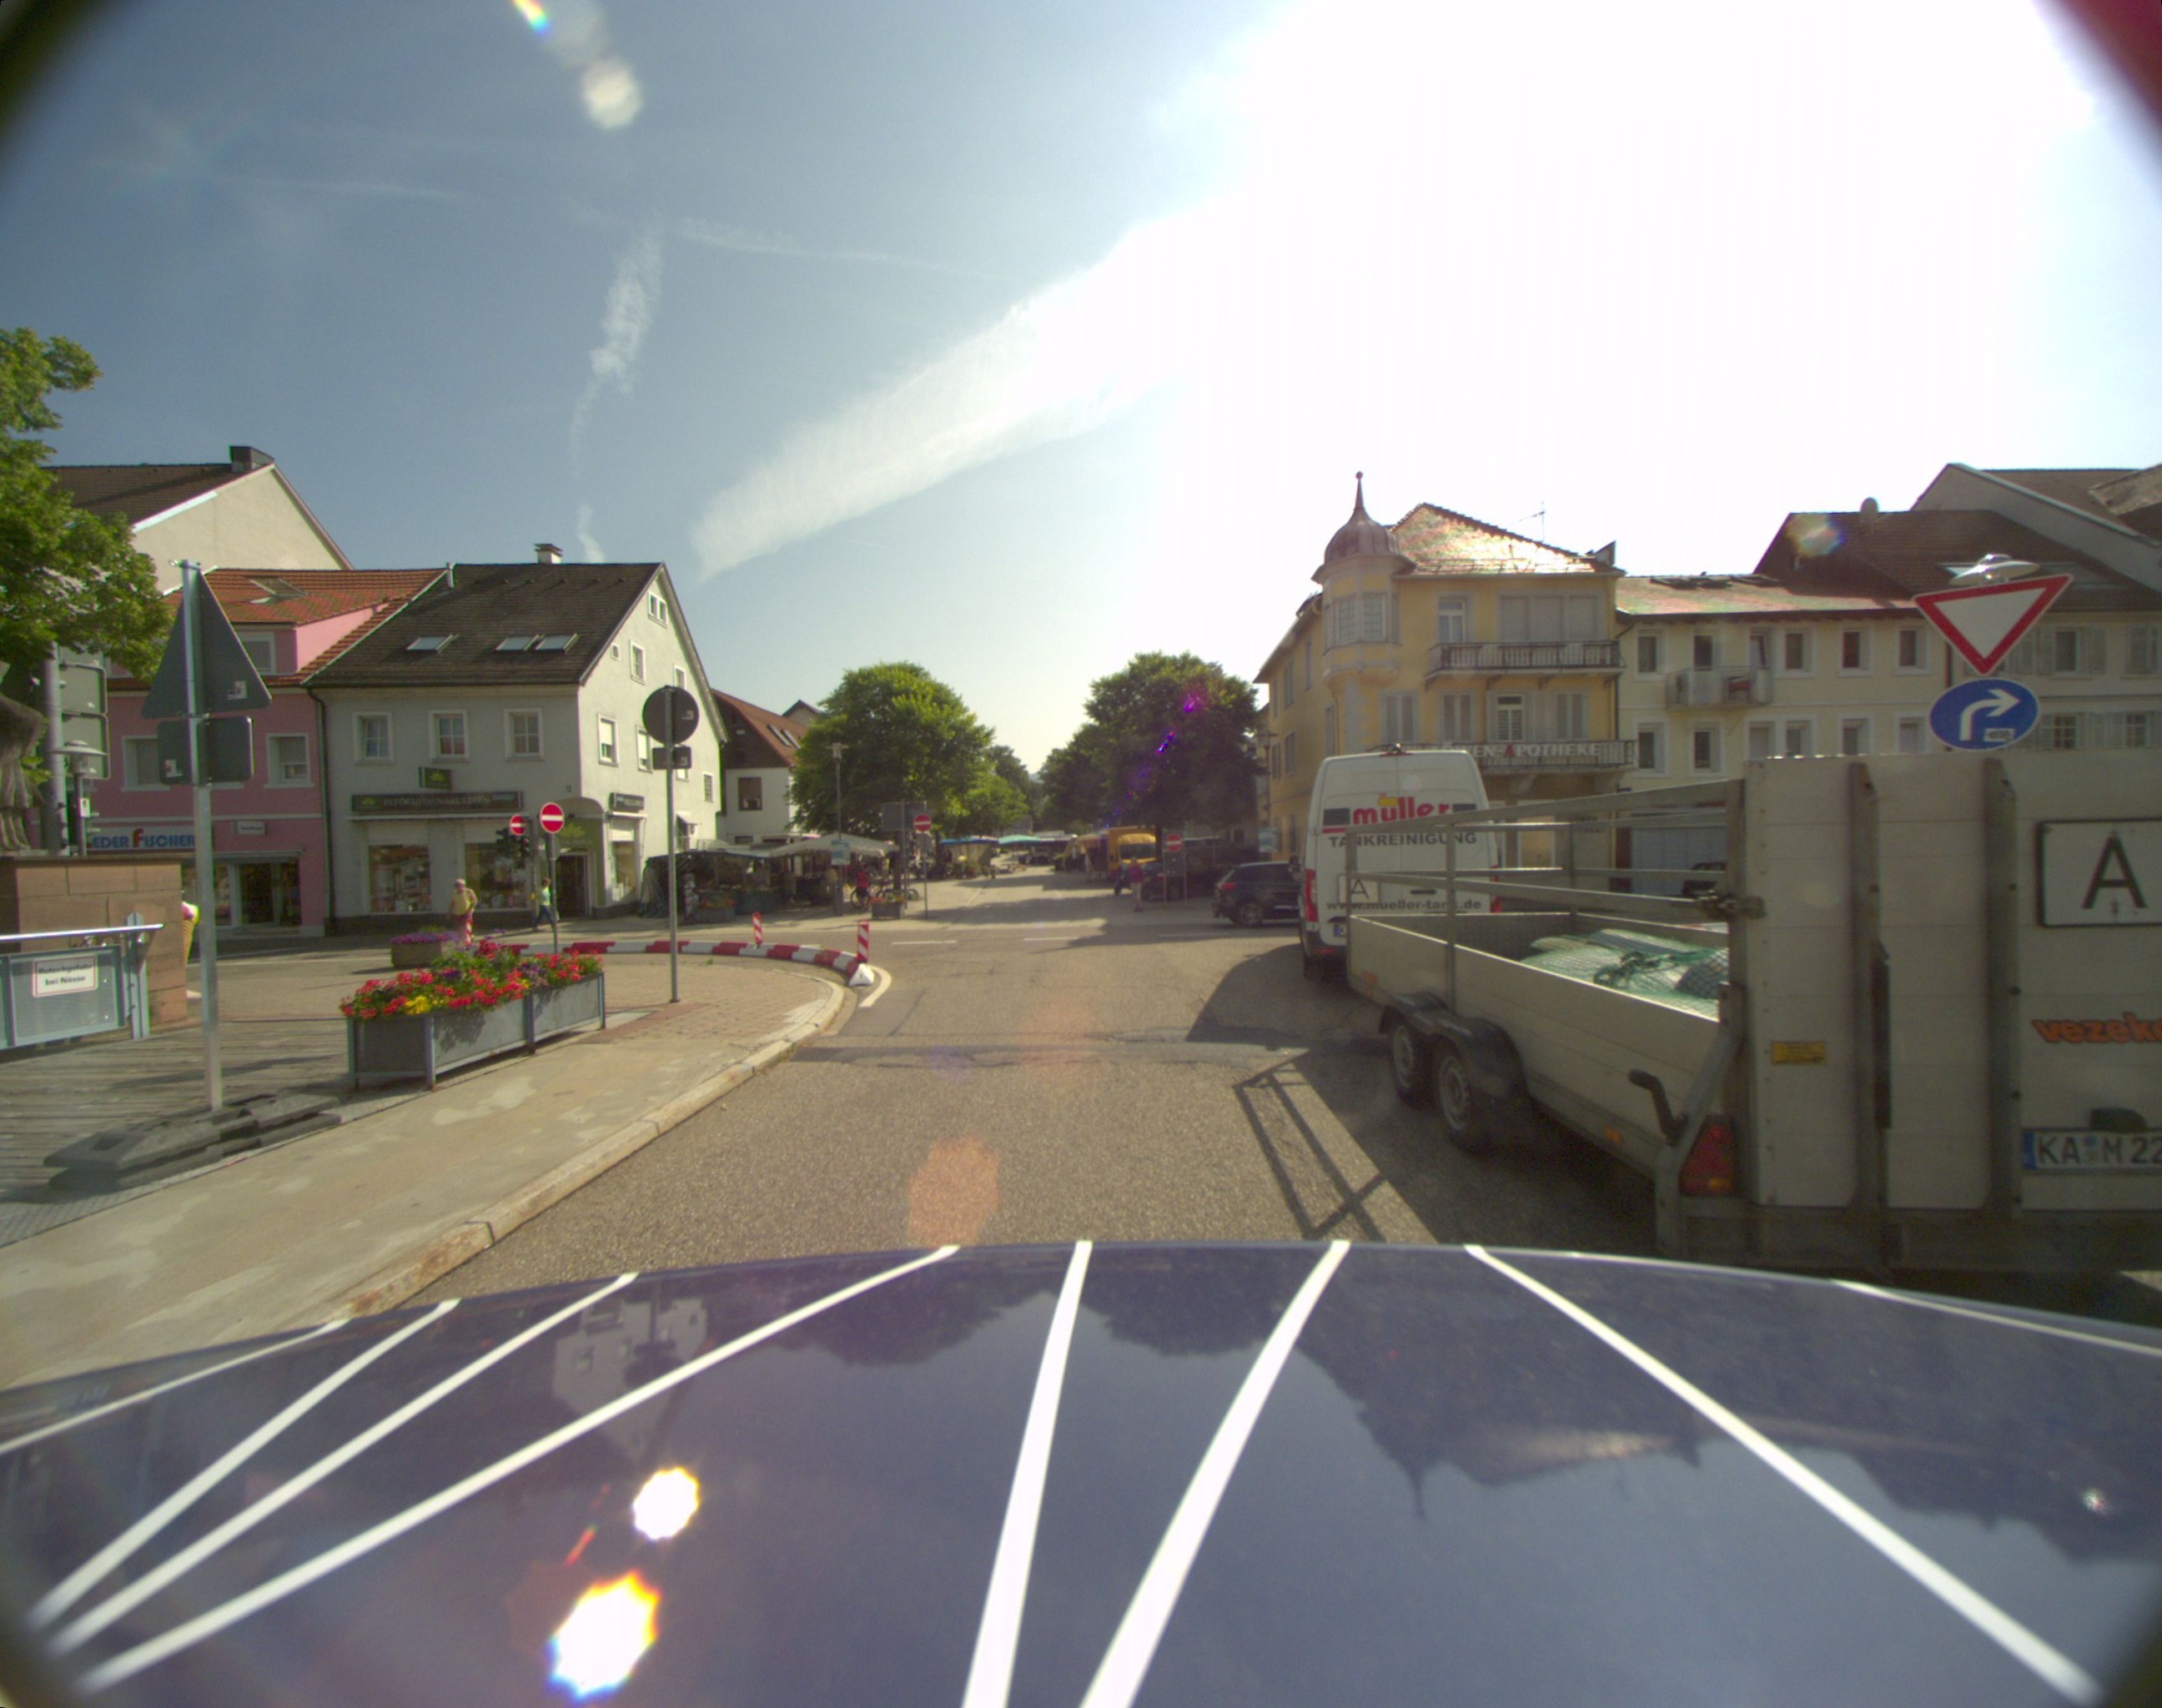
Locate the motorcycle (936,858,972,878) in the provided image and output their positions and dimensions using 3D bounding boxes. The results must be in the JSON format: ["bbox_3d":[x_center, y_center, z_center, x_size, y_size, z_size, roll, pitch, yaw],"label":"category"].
[{"bbox_3d":[-7.708,0.840,46.122,2.002,1.189,0.644,1,1,13],"label":"motorcycle"}]

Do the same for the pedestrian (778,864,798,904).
[{"bbox_3d":[-11.910,1.211,30.918,0.522,1.617,0.707,-1,1,-5],"label":"pedestrian"}]

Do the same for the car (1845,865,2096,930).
[{"bbox_3d":[21.689,1.026,18.640,4.197,1.348,1.756,-2,0,-2],"label":"car"}]

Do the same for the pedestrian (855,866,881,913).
[{"bbox_3d":[-7.607,1.255,27.190,0.884,1.649,0.571,0,2,-16],"label":"pedestrian"}]

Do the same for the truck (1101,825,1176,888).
[{"bbox_3d":[2.717,-0.031,39.009,3.008,2.743,8.857,-2,2,-1],"label":"truck"}]

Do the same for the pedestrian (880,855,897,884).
[{"bbox_3d":[-10.518,0.845,41.546,0.698,1.545,0.572,1,2,6],"label":"pedestrian"}]

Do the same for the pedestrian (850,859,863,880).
[{"bbox_3d":[-13.260,0.896,44.872,0.572,1.194,0.650,1,2,1],"label":"pedestrian"}]

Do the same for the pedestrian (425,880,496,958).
[{"bbox_3d":[-15.897,1.638,19.510,0.908,1.806,1.019,-3,6,-14],"label":"pedestrian"}]

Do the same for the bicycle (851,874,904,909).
[{"bbox_3d":[-7.584,1.391,28.391,1.863,1.228,0.616,-2,1,-13],"label":"bicycle"}]

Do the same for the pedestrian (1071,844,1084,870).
[{"bbox_3d":[-0.230,0.168,50.611,0.682,1.672,0.582,-4,3,-17],"label":"pedestrian"}]

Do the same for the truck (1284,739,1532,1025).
[{"bbox_3d":[4.051,0.342,10.819,2.108,2.682,7.142,-1,-1,14],"label":"truck"}]

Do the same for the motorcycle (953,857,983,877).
[{"bbox_3d":[-7.001,0.781,47.035,1.999,1.189,0.645,2,2,41],"label":"motorcycle"}]

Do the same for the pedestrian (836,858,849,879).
[{"bbox_3d":[-14.029,0.832,44.701,0.572,1.194,0.650,1,2,1],"label":"pedestrian"}]

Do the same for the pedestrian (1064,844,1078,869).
[{"bbox_3d":[-0.672,0.181,51.144,0.682,1.672,0.582,-4,1,-16],"label":"pedestrian"}]

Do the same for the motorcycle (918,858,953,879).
[{"bbox_3d":[-8.724,0.843,45.536,2.002,1.189,0.644,1,2,13],"label":"motorcycle"}]

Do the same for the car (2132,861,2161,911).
[{"bbox_3d":[33.213,0.903,21.816,3.792,1.439,1.752,-1,0,-2],"label":"car"}]

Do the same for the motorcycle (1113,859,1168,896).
[{"bbox_3d":[2.416,0.961,31.150,2.086,1.353,0.888,-4,1,-2],"label":"motorcycle"}]

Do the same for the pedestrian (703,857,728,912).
[{"bbox_3d":[-13.368,1.107,27.786,0.708,1.959,0.507,-2,1,-36],"label":"pedestrian"}]

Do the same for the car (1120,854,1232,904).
[{"bbox_3d":[3.595,0.873,28.420,3.965,1.534,1.918,-4,3,-39],"label":"car"}]

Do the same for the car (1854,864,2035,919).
[{"bbox_3d":[24.748,1.041,21.863,3.274,1.439,1.752,-1,0,-2],"label":"car"}]

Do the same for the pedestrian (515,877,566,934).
[{"bbox_3d":[-16.236,1.538,22.837,0.858,1.623,0.788,-2,4,1],"label":"pedestrian"}]

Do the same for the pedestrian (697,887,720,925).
[{"bbox_3d":[-11.900,1.638,24.268,0.623,1.153,0.515,-2,1,-30],"label":"pedestrian"}]

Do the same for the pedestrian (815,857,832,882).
[{"bbox_3d":[-14.170,0.834,41.814,0.626,1.323,0.699,1,2,3],"label":"pedestrian"}]

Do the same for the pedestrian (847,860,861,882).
[{"bbox_3d":[-12.862,0.968,43.003,0.572,1.194,0.650,1,2,1],"label":"pedestrian"}]

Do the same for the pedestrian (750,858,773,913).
[{"bbox_3d":[-11.767,1.140,28.005,0.708,1.973,0.651,-2,1,-21],"label":"pedestrian"}]

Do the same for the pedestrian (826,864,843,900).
[{"bbox_3d":[-10.669,1.187,32.884,0.622,1.509,0.632,-1,1,-16],"label":"pedestrian"}]

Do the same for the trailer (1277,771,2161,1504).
[{"bbox_3d":[3.090,0.707,4.675,2.616,1.817,5.639,-1,0,4],"label":"trailer"}]

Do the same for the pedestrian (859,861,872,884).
[{"bbox_3d":[-11.786,1.013,41.559,0.572,1.194,0.650,1,2,-11],"label":"pedestrian"}]

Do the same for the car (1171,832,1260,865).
[{"bbox_3d":[8.339,-0.357,47.381,5.071,1.880,1.999,-1,1,-5],"label":"car"}]

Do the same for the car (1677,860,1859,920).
[{"bbox_3d":[19.429,0.982,21.596,3.566,1.559,1.852,-1,0,-2],"label":"car"}]

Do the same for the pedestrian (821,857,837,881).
[{"bbox_3d":[-14.168,0.841,42.740,0.626,1.323,0.699,1,2,3],"label":"pedestrian"}]

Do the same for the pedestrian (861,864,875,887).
[{"bbox_3d":[-11.348,1.121,40.577,0.700,1.194,0.571,0,2,-14],"label":"pedestrian"}]

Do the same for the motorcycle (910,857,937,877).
[{"bbox_3d":[-9.649,0.779,46.578,1.531,1.189,0.643,1,1,-1],"label":"motorcycle"}]

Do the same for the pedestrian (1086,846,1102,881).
[{"bbox_3d":[0.691,0.490,39.989,0.681,1.777,0.726,-3,2,-2],"label":"pedestrian"}]

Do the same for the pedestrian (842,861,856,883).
[{"bbox_3d":[-12.846,0.988,42.151,0.572,1.194,0.650,1,2,1],"label":"pedestrian"}]

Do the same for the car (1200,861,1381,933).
[{"bbox_3d":[5.032,1.023,18.654,3.967,1.552,1.684,-2,1,3],"label":"car"}]

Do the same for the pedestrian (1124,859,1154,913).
[{"bbox_3d":[1.878,1.026,24.623,0.678,1.705,0.618,-1,2,35],"label":"pedestrian"}]

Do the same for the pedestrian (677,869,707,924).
[{"bbox_3d":[-12.577,1.364,24.549,0.789,1.714,0.706,-2,1,-28],"label":"pedestrian"}]

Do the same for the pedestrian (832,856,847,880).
[{"bbox_3d":[-13.914,0.813,43.764,0.626,1.323,0.699,1,2,3],"label":"pedestrian"}]
